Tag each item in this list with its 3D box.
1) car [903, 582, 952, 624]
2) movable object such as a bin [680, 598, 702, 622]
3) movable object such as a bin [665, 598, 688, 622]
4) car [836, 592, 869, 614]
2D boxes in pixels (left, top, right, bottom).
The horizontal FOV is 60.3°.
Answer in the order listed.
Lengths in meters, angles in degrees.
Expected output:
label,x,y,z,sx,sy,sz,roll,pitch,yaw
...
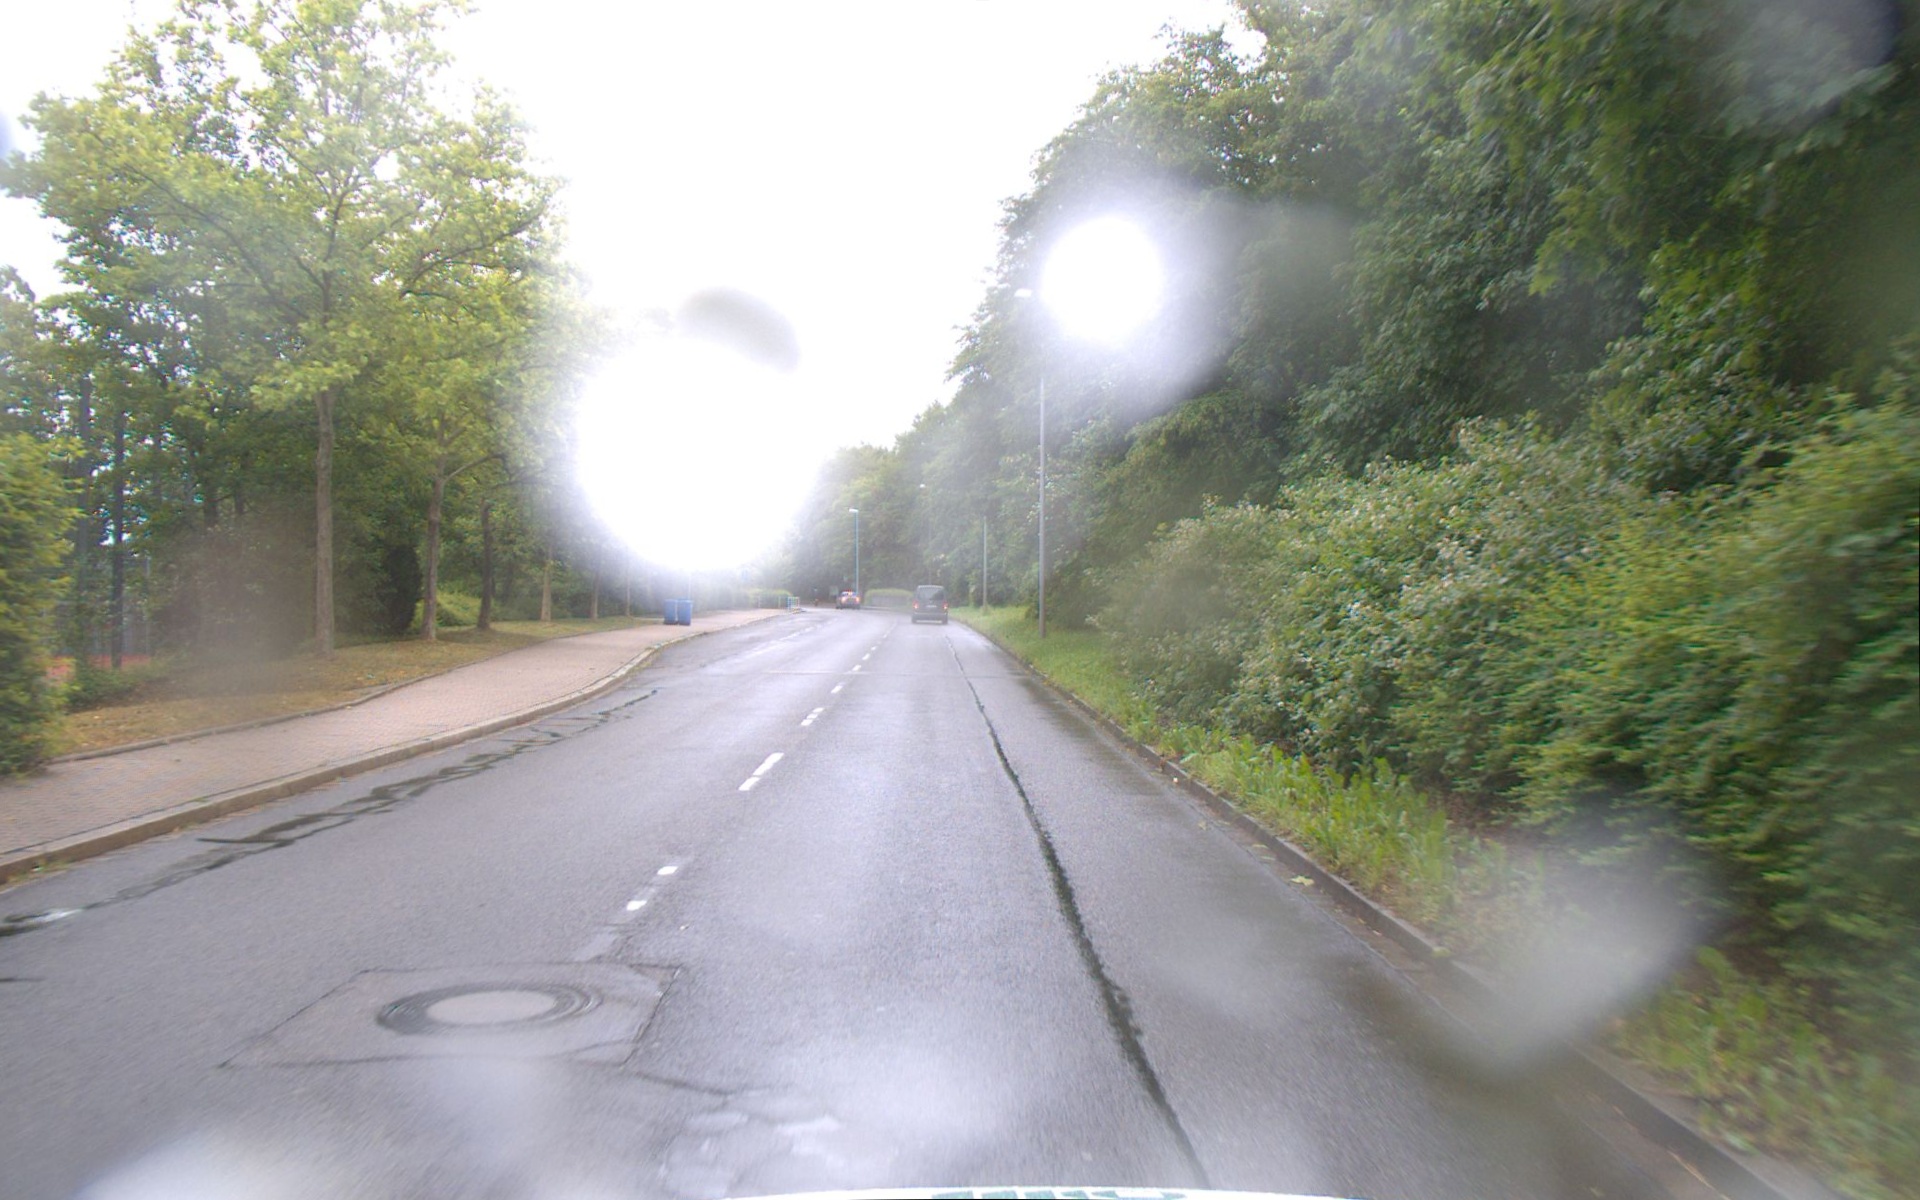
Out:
label,x,y,z,sx,sy,sz,roll,pitch,yaw
car,-1.615,0.142,80.812,1.956,1.825,3.994,3,1,-7
movable object such as a bin,-11.834,0.445,72.722,0.660,1.044,0.825,-2,1,-33
movable object such as a bin,-12.397,0.436,72.320,0.660,1.044,0.825,-2,1,-33
car,-8.954,0.228,137.870,1.961,1.803,3.983,-1,1,-16
